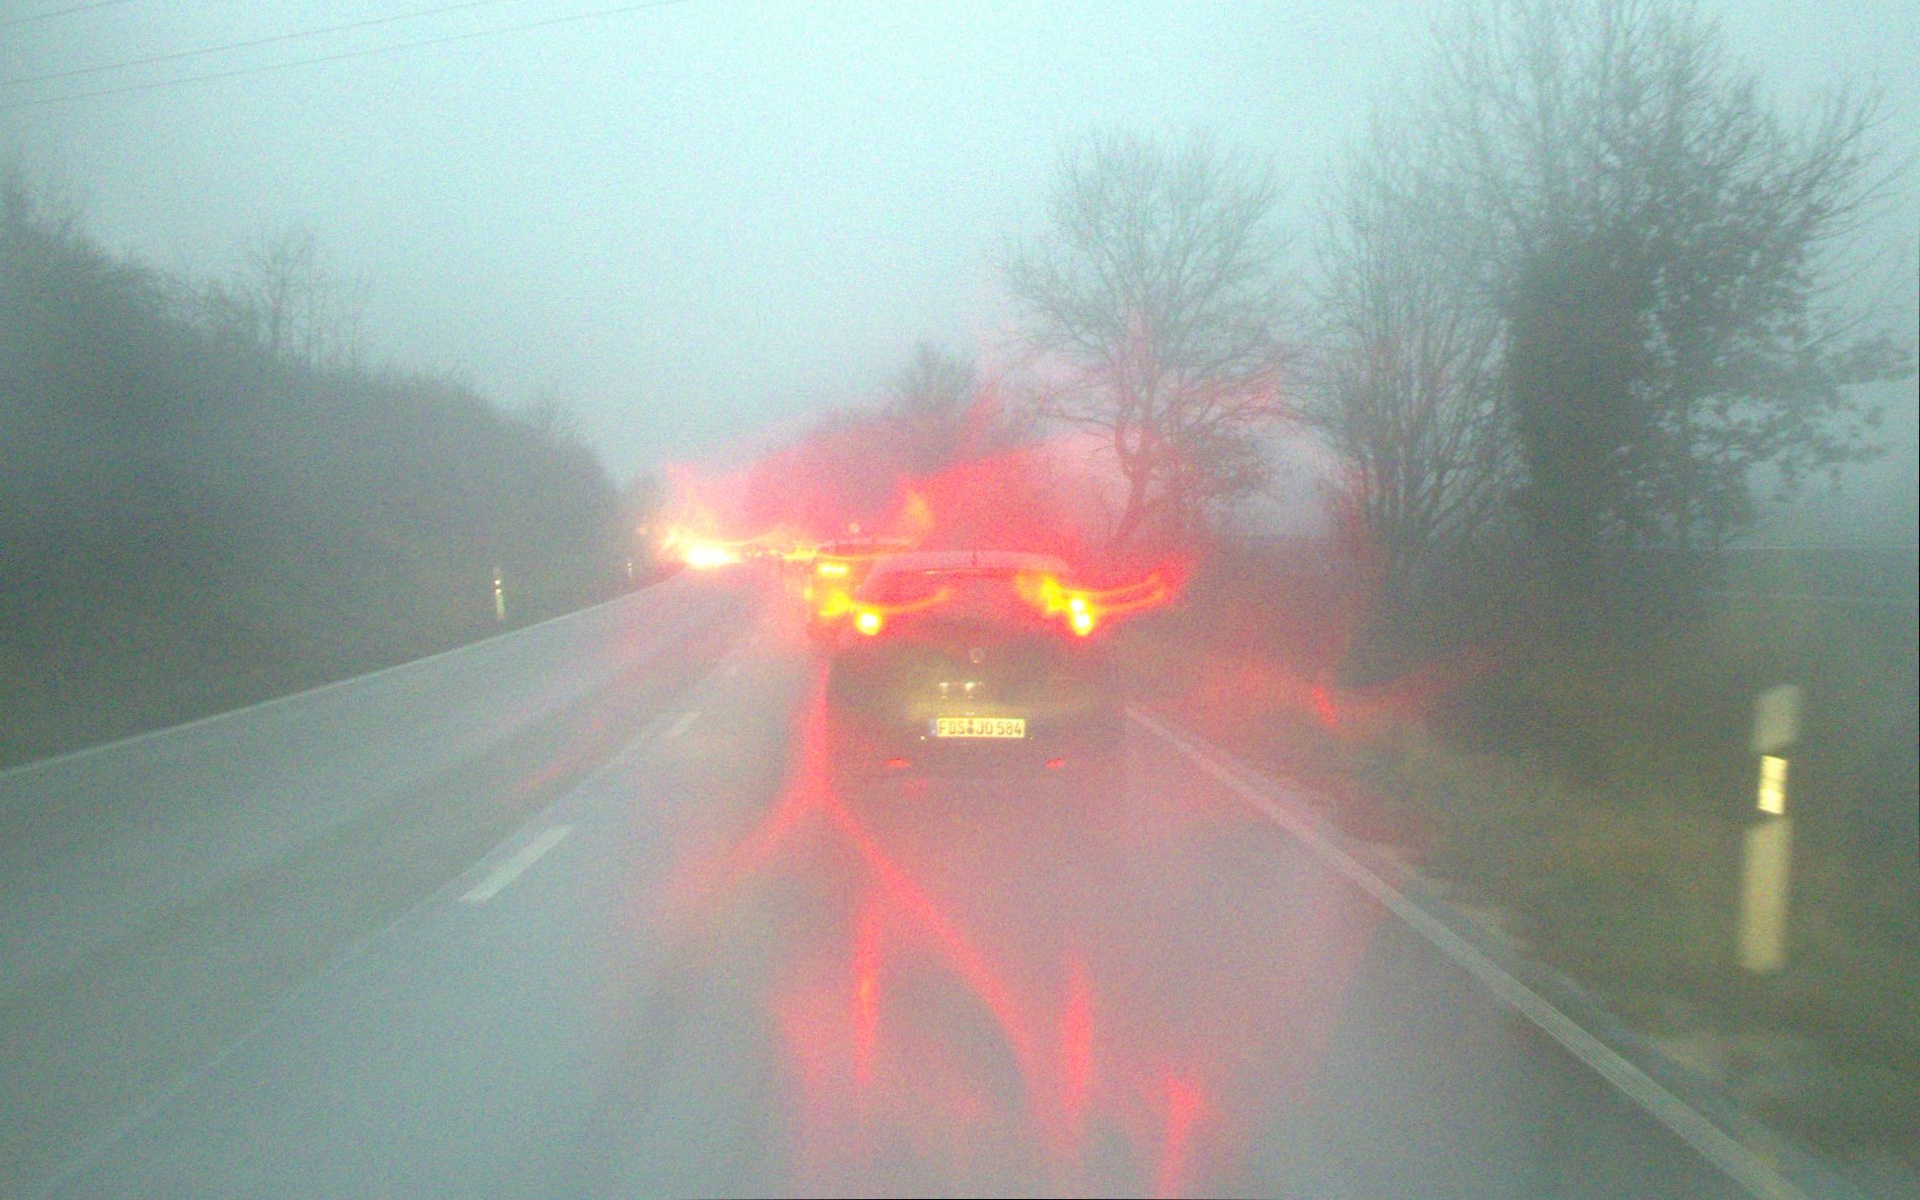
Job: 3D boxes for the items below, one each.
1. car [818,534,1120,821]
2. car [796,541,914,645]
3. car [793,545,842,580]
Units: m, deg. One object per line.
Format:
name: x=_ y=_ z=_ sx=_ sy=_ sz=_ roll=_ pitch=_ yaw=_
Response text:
car: x=0.064 y=0.379 z=20.339 sx=1.602 sy=1.517 sz=3.869 roll=1 pitch=1 yaw=0
car: x=-1.450 y=-0.133 z=48.597 sx=1.547 sy=1.392 sz=3.870 roll=1 pitch=1 yaw=0
car: x=-5.955 y=-1.577 z=144.063 sx=1.547 sy=1.392 sz=3.869 roll=1 pitch=1 yaw=5
